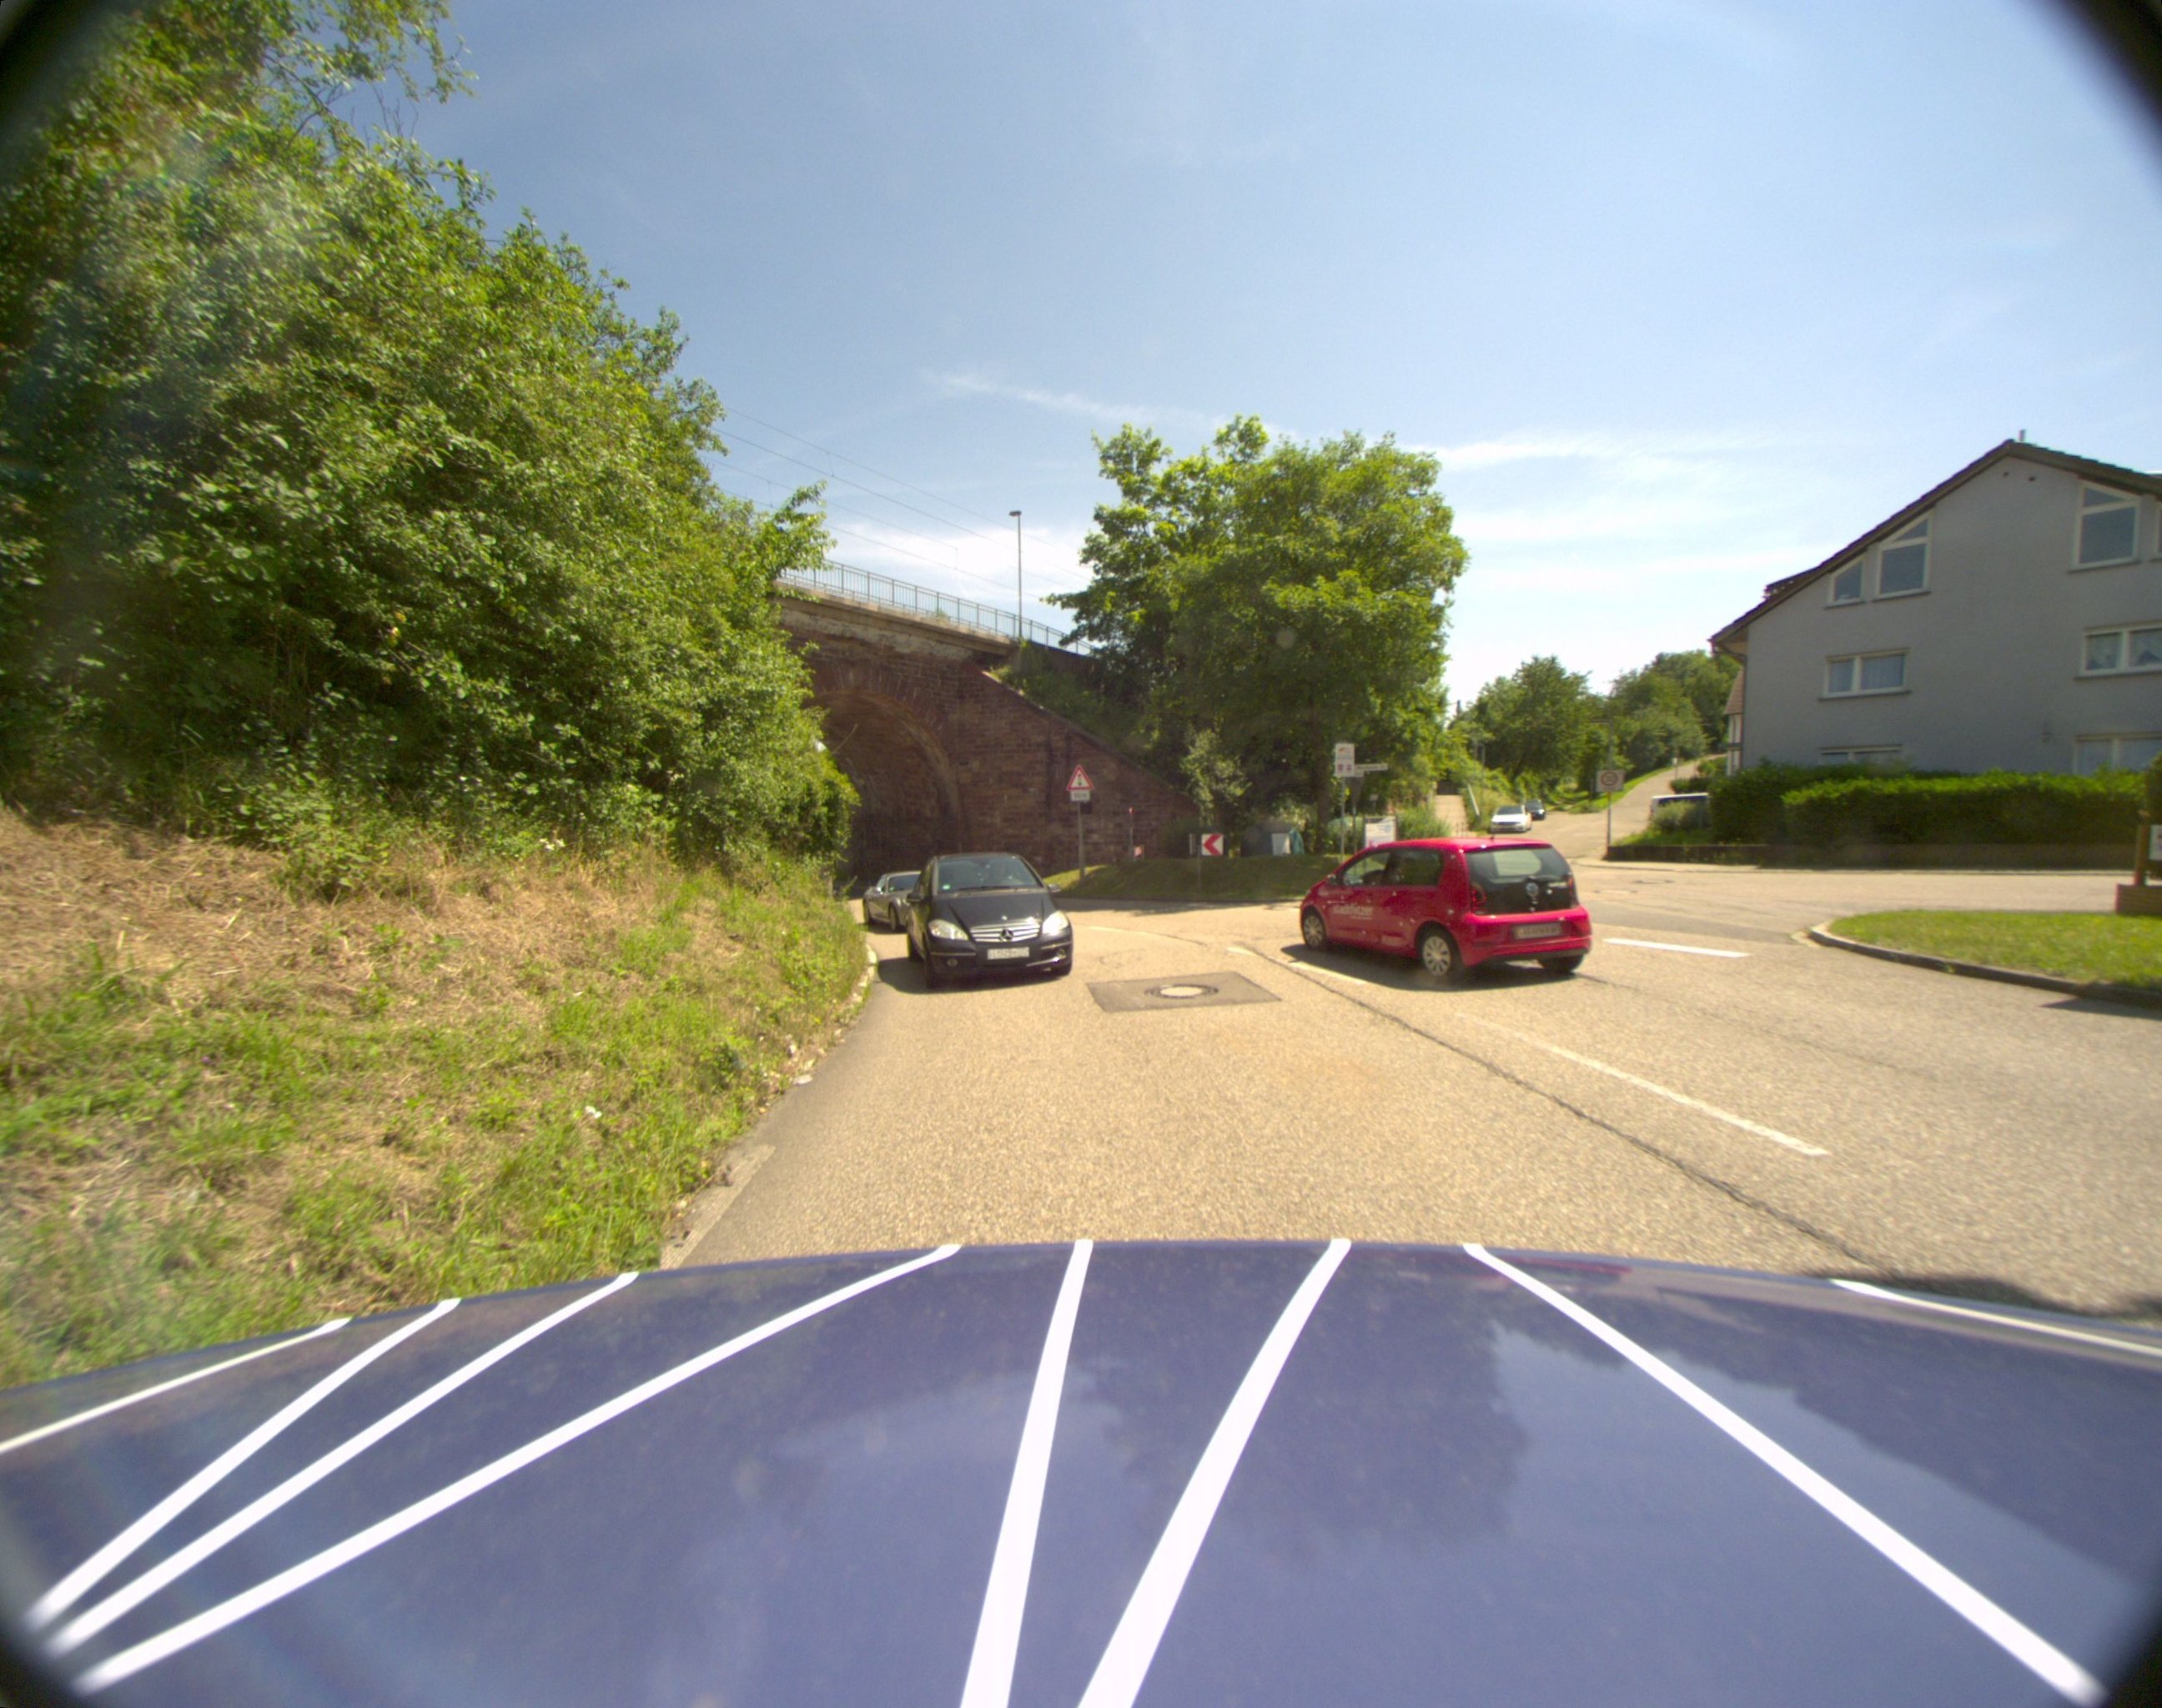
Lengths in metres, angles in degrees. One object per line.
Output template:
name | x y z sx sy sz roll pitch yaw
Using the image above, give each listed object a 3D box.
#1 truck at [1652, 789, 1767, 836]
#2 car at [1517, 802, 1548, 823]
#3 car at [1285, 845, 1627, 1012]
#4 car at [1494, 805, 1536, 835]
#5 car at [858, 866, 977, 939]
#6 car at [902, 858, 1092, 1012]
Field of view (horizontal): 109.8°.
truck | 31.889 -2.057 38.616 4.304 2.002 2.004 -3 1 43
car | 34.177 -3.145 57.583 1.746 1.382 4.004 -1 5 27
car | 4.059 0.666 8.937 1.661 1.450 3.632 -3 1 -12
car | 25.044 -1.975 43.934 1.995 1.499 4.005 -1 4 29
car | -3.802 1.018 17.323 1.651 1.315 3.430 -4 2 -29
car | -1.325 0.886 10.252 1.798 1.570 3.793 -2 1 -18
